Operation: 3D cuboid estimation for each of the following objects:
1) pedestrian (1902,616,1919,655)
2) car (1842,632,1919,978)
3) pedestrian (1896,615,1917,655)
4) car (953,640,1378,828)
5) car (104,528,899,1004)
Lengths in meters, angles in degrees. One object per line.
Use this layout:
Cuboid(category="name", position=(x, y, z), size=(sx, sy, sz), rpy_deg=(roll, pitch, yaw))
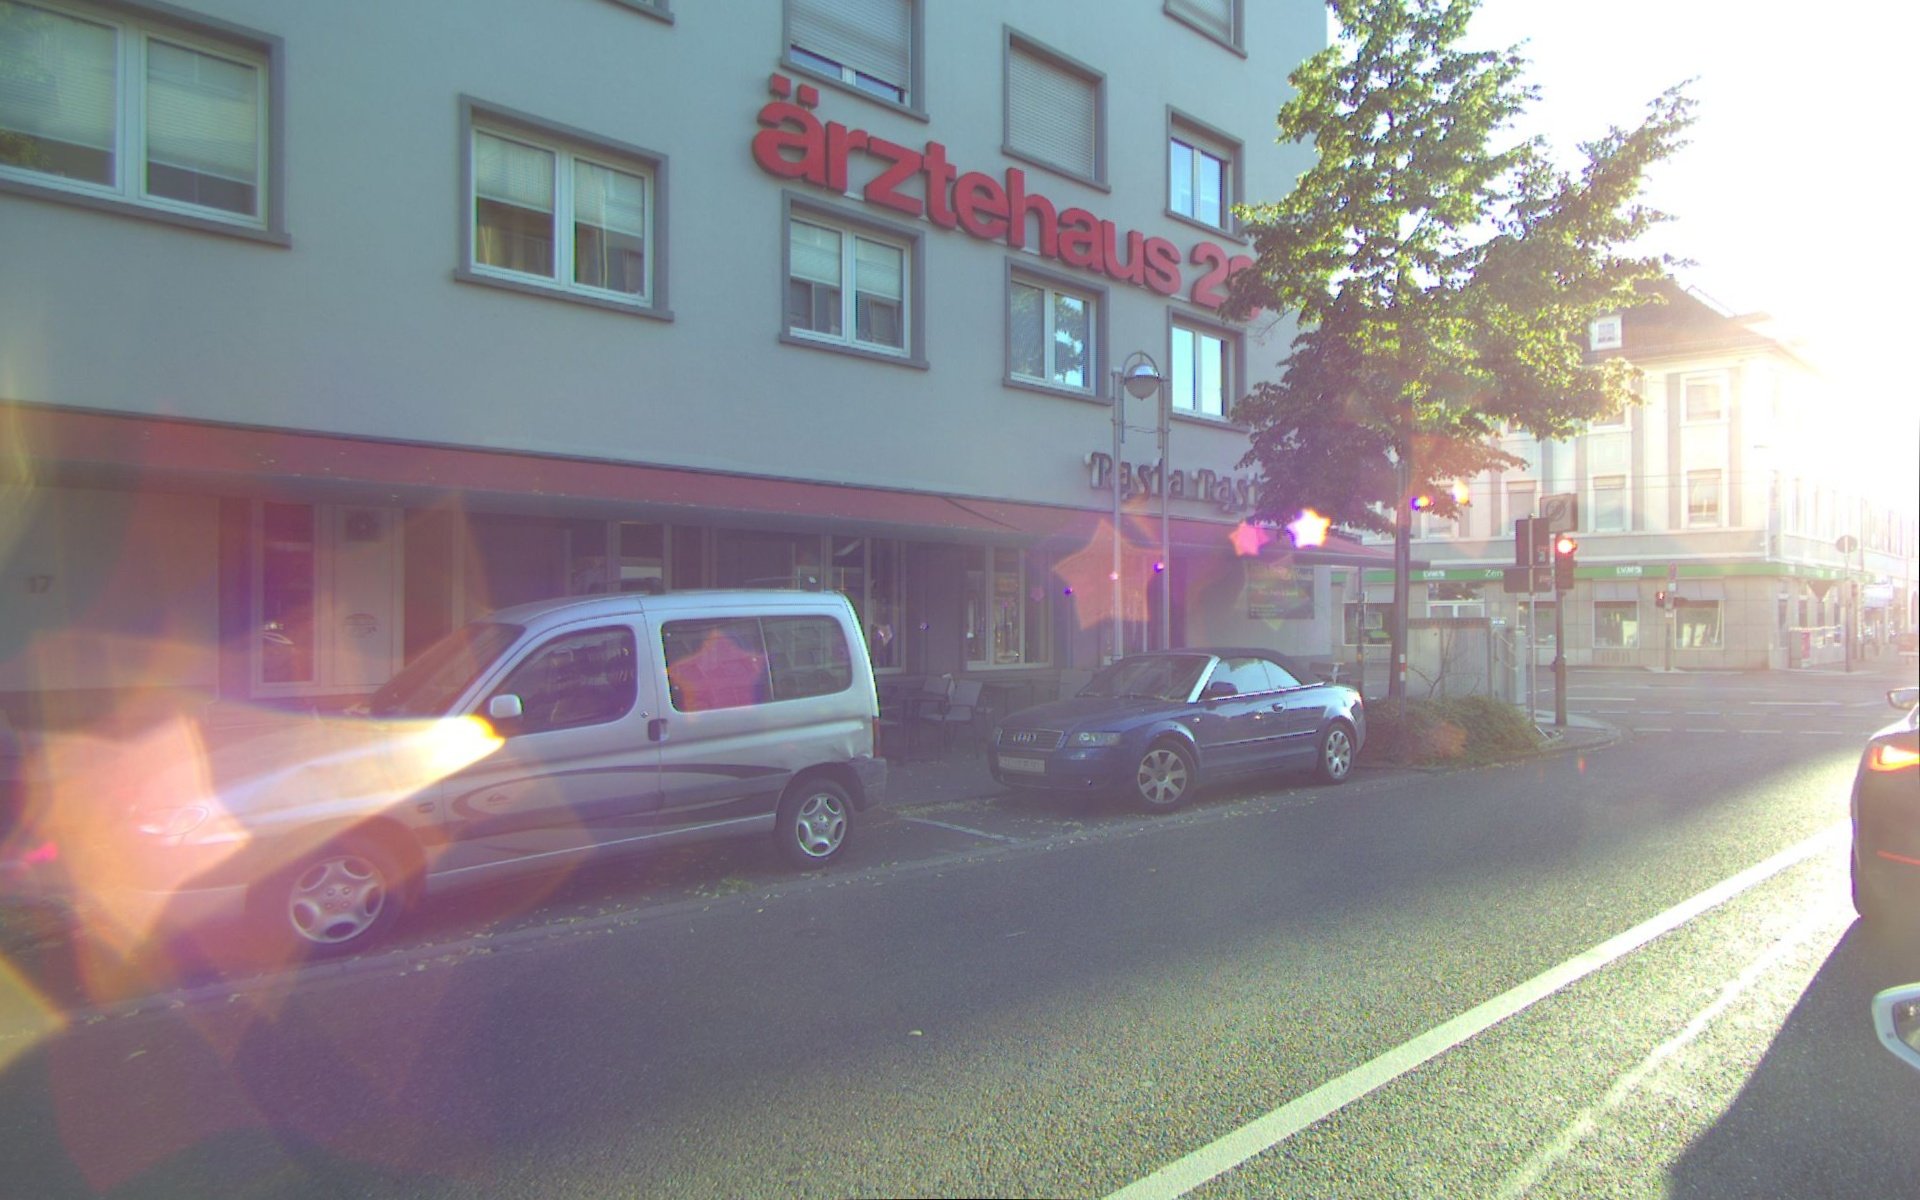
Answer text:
Cuboid(category="pedestrian", position=(47.210, 1.731, 49.826), size=(0.673, 1.901, 0.610), rpy_deg=(1, 0, -42))
Cuboid(category="car", position=(6.061, 0.910, 5.106), size=(4.188, 1.447, 1.723), rpy_deg=(1, -1, -39))
Cuboid(category="pedestrian", position=(46.505, 1.715, 49.373), size=(0.626, 1.901, 0.638), rpy_deg=(1, 0, -38))
Cuboid(category="car", position=(2.117, 1.120, 9.692), size=(4.244, 1.434, 1.710), rpy_deg=(2, -4, -39))
Cuboid(category="car", position=(-2.464, 0.752, 6.021), size=(4.022, 1.912, 1.655), rpy_deg=(2, -4, -41))
